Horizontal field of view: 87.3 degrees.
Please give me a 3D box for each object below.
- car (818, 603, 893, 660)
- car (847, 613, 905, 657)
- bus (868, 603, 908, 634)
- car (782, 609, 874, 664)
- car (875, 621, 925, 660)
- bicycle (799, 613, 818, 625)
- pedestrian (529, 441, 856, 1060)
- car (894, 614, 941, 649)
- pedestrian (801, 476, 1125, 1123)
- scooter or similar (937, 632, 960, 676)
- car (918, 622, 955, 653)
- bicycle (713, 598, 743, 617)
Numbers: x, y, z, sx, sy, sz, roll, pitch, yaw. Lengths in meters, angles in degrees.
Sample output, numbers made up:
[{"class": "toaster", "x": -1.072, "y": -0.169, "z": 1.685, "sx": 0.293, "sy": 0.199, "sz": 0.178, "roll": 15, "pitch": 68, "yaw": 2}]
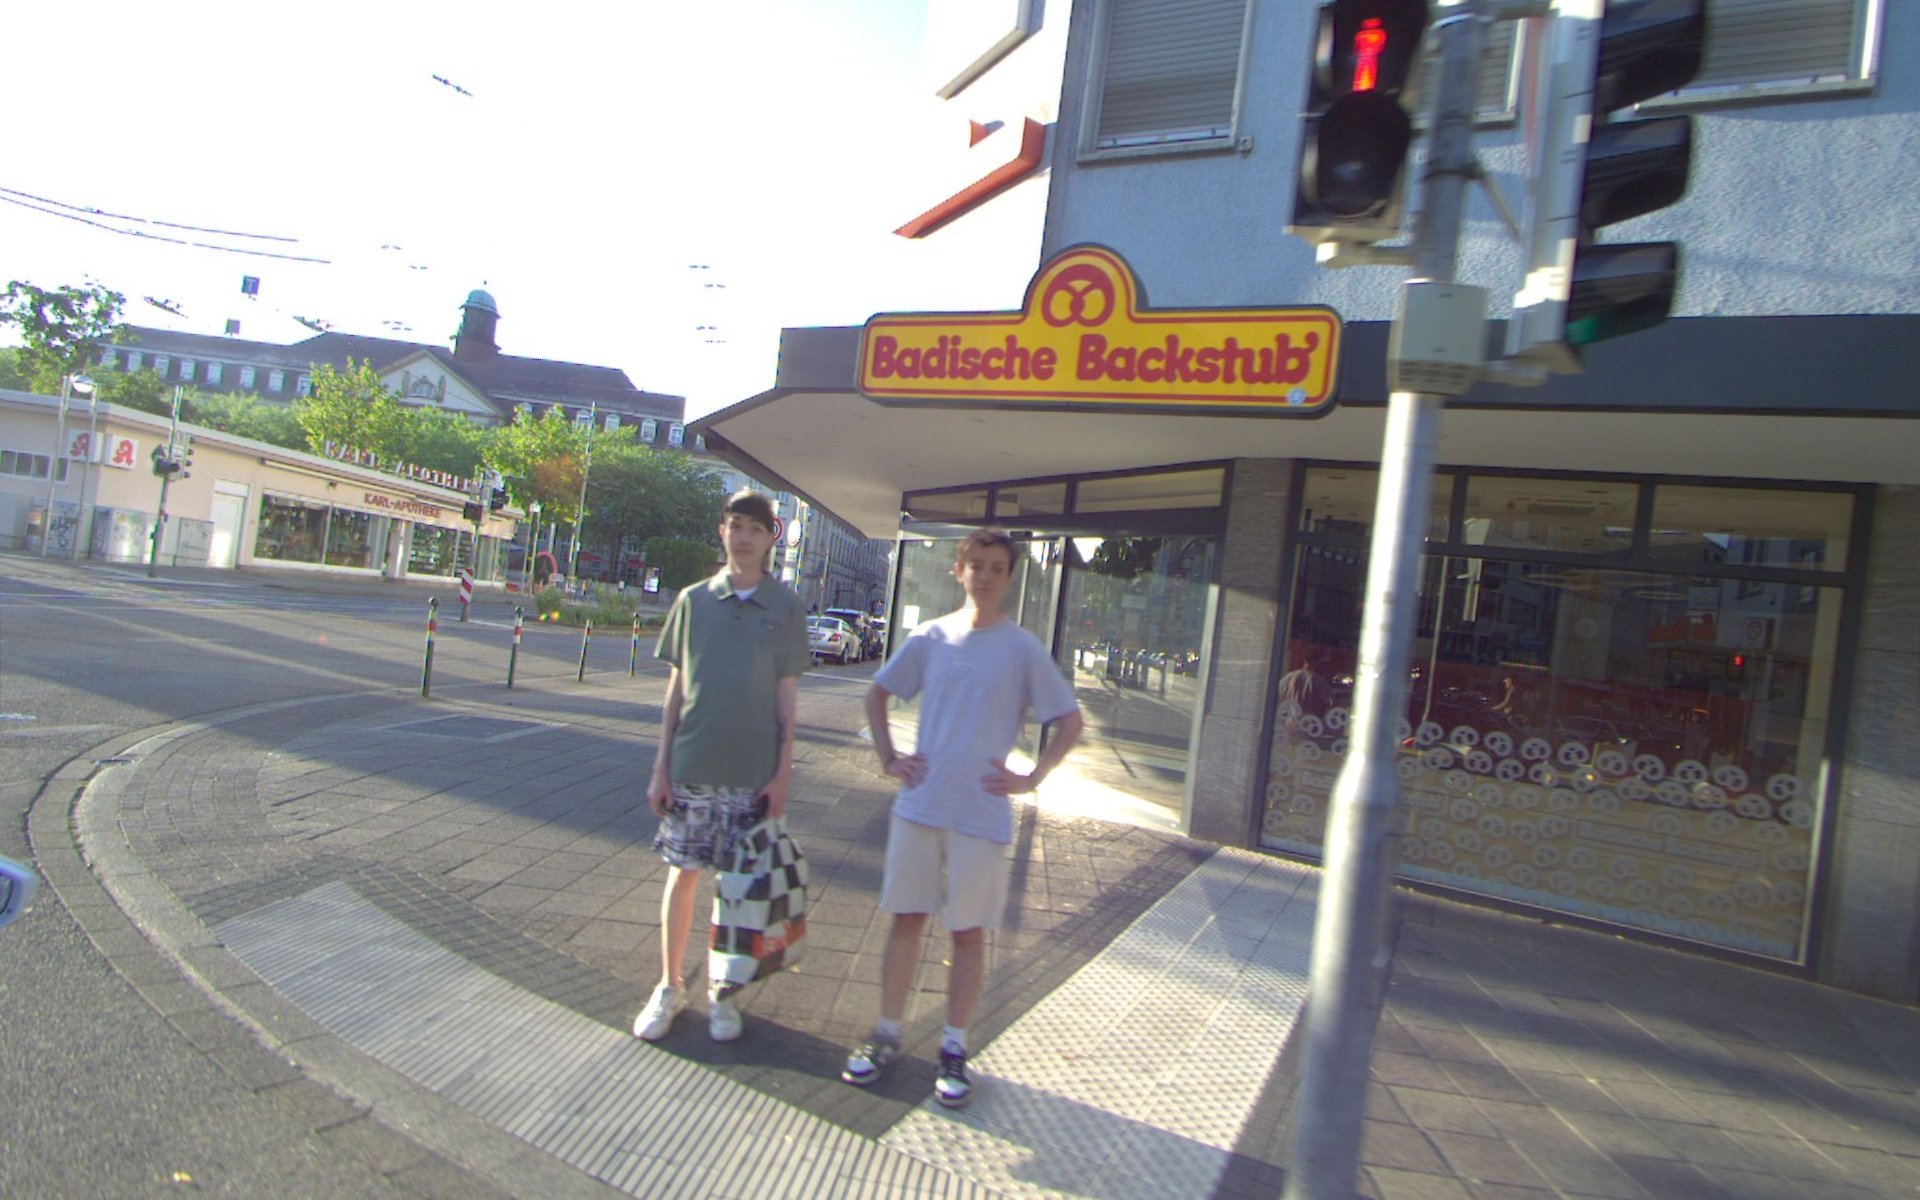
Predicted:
[{"class": "car", "x": -3.505, "y": 1.098, "z": 34.518, "sx": 1.737, "sy": 1.623, "sz": 4.291, "roll": 8, "pitch": -2, "yaw": 3}, {"class": "car", "x": -3.335, "y": 1.461, "z": 40.543, "sx": 1.704, "sy": 1.451, "sz": 4.158, "roll": 7, "pitch": -3, "yaw": 2}, {"class": "bus", "x": -9.809, "y": 2.692, "z": 139.651, "sx": 2.778, "sy": 3.693, "sz": 17.087, "roll": 7, "pitch": -2, "yaw": 4}, {"class": "car", "x": -3.789, "y": 1.101, "z": 29.572, "sx": 1.647, "sy": 1.297, "sz": 4.069, "roll": 7, "pitch": -2, "yaw": 6}, {"class": "car", "x": -2.859, "y": 1.965, "z": 49.020, "sx": 1.781, "sy": 1.570, "sz": 4.840, "roll": 8, "pitch": -2, "yaw": 3}, {"class": "bicycle", "x": -18.018, "y": 2.283, "z": 119.483, "sx": 2.065, "sy": 1.161, "sz": 0.575, "roll": 8, "pitch": -2, "yaw": -1}, {"class": "pedestrian", "x": -0.835, "y": 0.467, "z": 3.336, "sx": 0.736, "sy": 1.794, "sz": 0.586, "roll": 7, "pitch": 0, "yaw": -4}, {"class": "car", "x": -2.267, "y": 1.732, "z": 54.391, "sx": 1.788, "sy": 1.604, "sz": 4.727, "roll": 8, "pitch": -2, "yaw": 5}, {"class": "pedestrian", "x": 0.038, "y": 0.584, "z": 3.264, "sx": 0.735, "sy": 1.794, "sz": 0.640, "roll": 7, "pitch": 0, "yaw": 7}, {"class": "scooter or similar", "x": -0.321, "y": 1.543, "z": 29.135, "sx": 0.453, "sy": 1.197, "sz": 1.573, "roll": 7, "pitch": -1, "yaw": 3}, {"class": "car", "x": -1.414, "y": 2.235, "z": 61.473, "sx": 1.748, "sy": 1.557, "sz": 4.579, "roll": 7, "pitch": 0, "yaw": 3}, {"class": "bicycle", "x": -19.032, "y": 0.619, "z": 82.493, "sx": 2.206, "sy": 1.268, "sz": 0.580, "roll": 7, "pitch": -2, "yaw": 4}]
